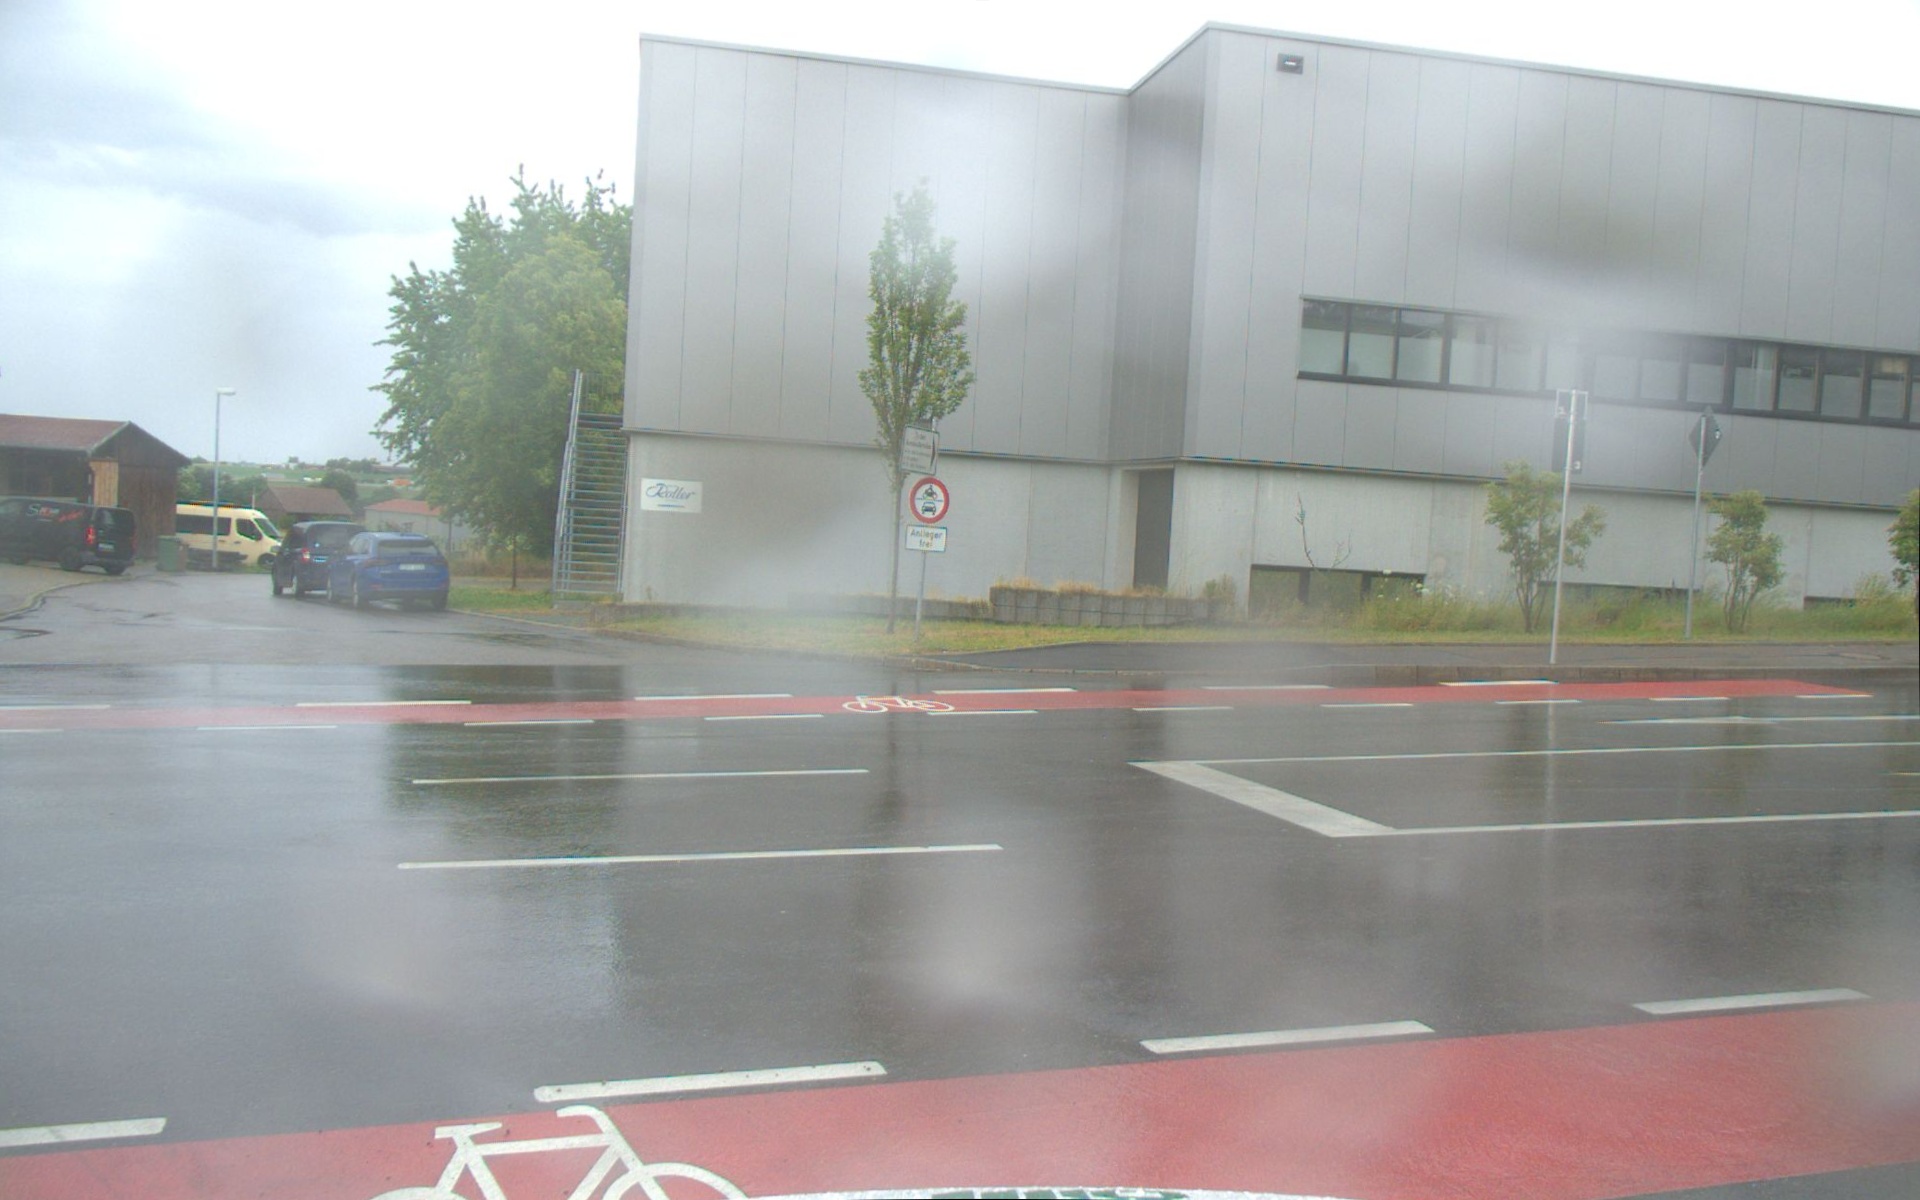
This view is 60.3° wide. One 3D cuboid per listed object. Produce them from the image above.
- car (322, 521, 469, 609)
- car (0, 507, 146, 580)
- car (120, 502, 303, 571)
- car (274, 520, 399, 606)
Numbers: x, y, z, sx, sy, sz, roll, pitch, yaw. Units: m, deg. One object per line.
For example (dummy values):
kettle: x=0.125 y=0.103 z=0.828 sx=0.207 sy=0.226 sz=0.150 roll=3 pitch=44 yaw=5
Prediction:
car: x=-11.469 y=-0.723 z=33.412 sx=1.932 sy=1.638 sz=4.400 roll=1 pitch=1 yaw=-31
car: x=-25.270 y=-1.578 z=46.226 sx=4.303 sy=1.938 sz=2.001 roll=2 pitch=1 yaw=17
car: x=-28.832 y=-2.431 z=63.911 sx=5.892 sy=2.457 sz=2.461 roll=1 pitch=1 yaw=-6
car: x=-14.627 y=-0.860 z=38.643 sx=2.052 sy=1.866 sz=4.426 roll=1 pitch=1 yaw=-30
